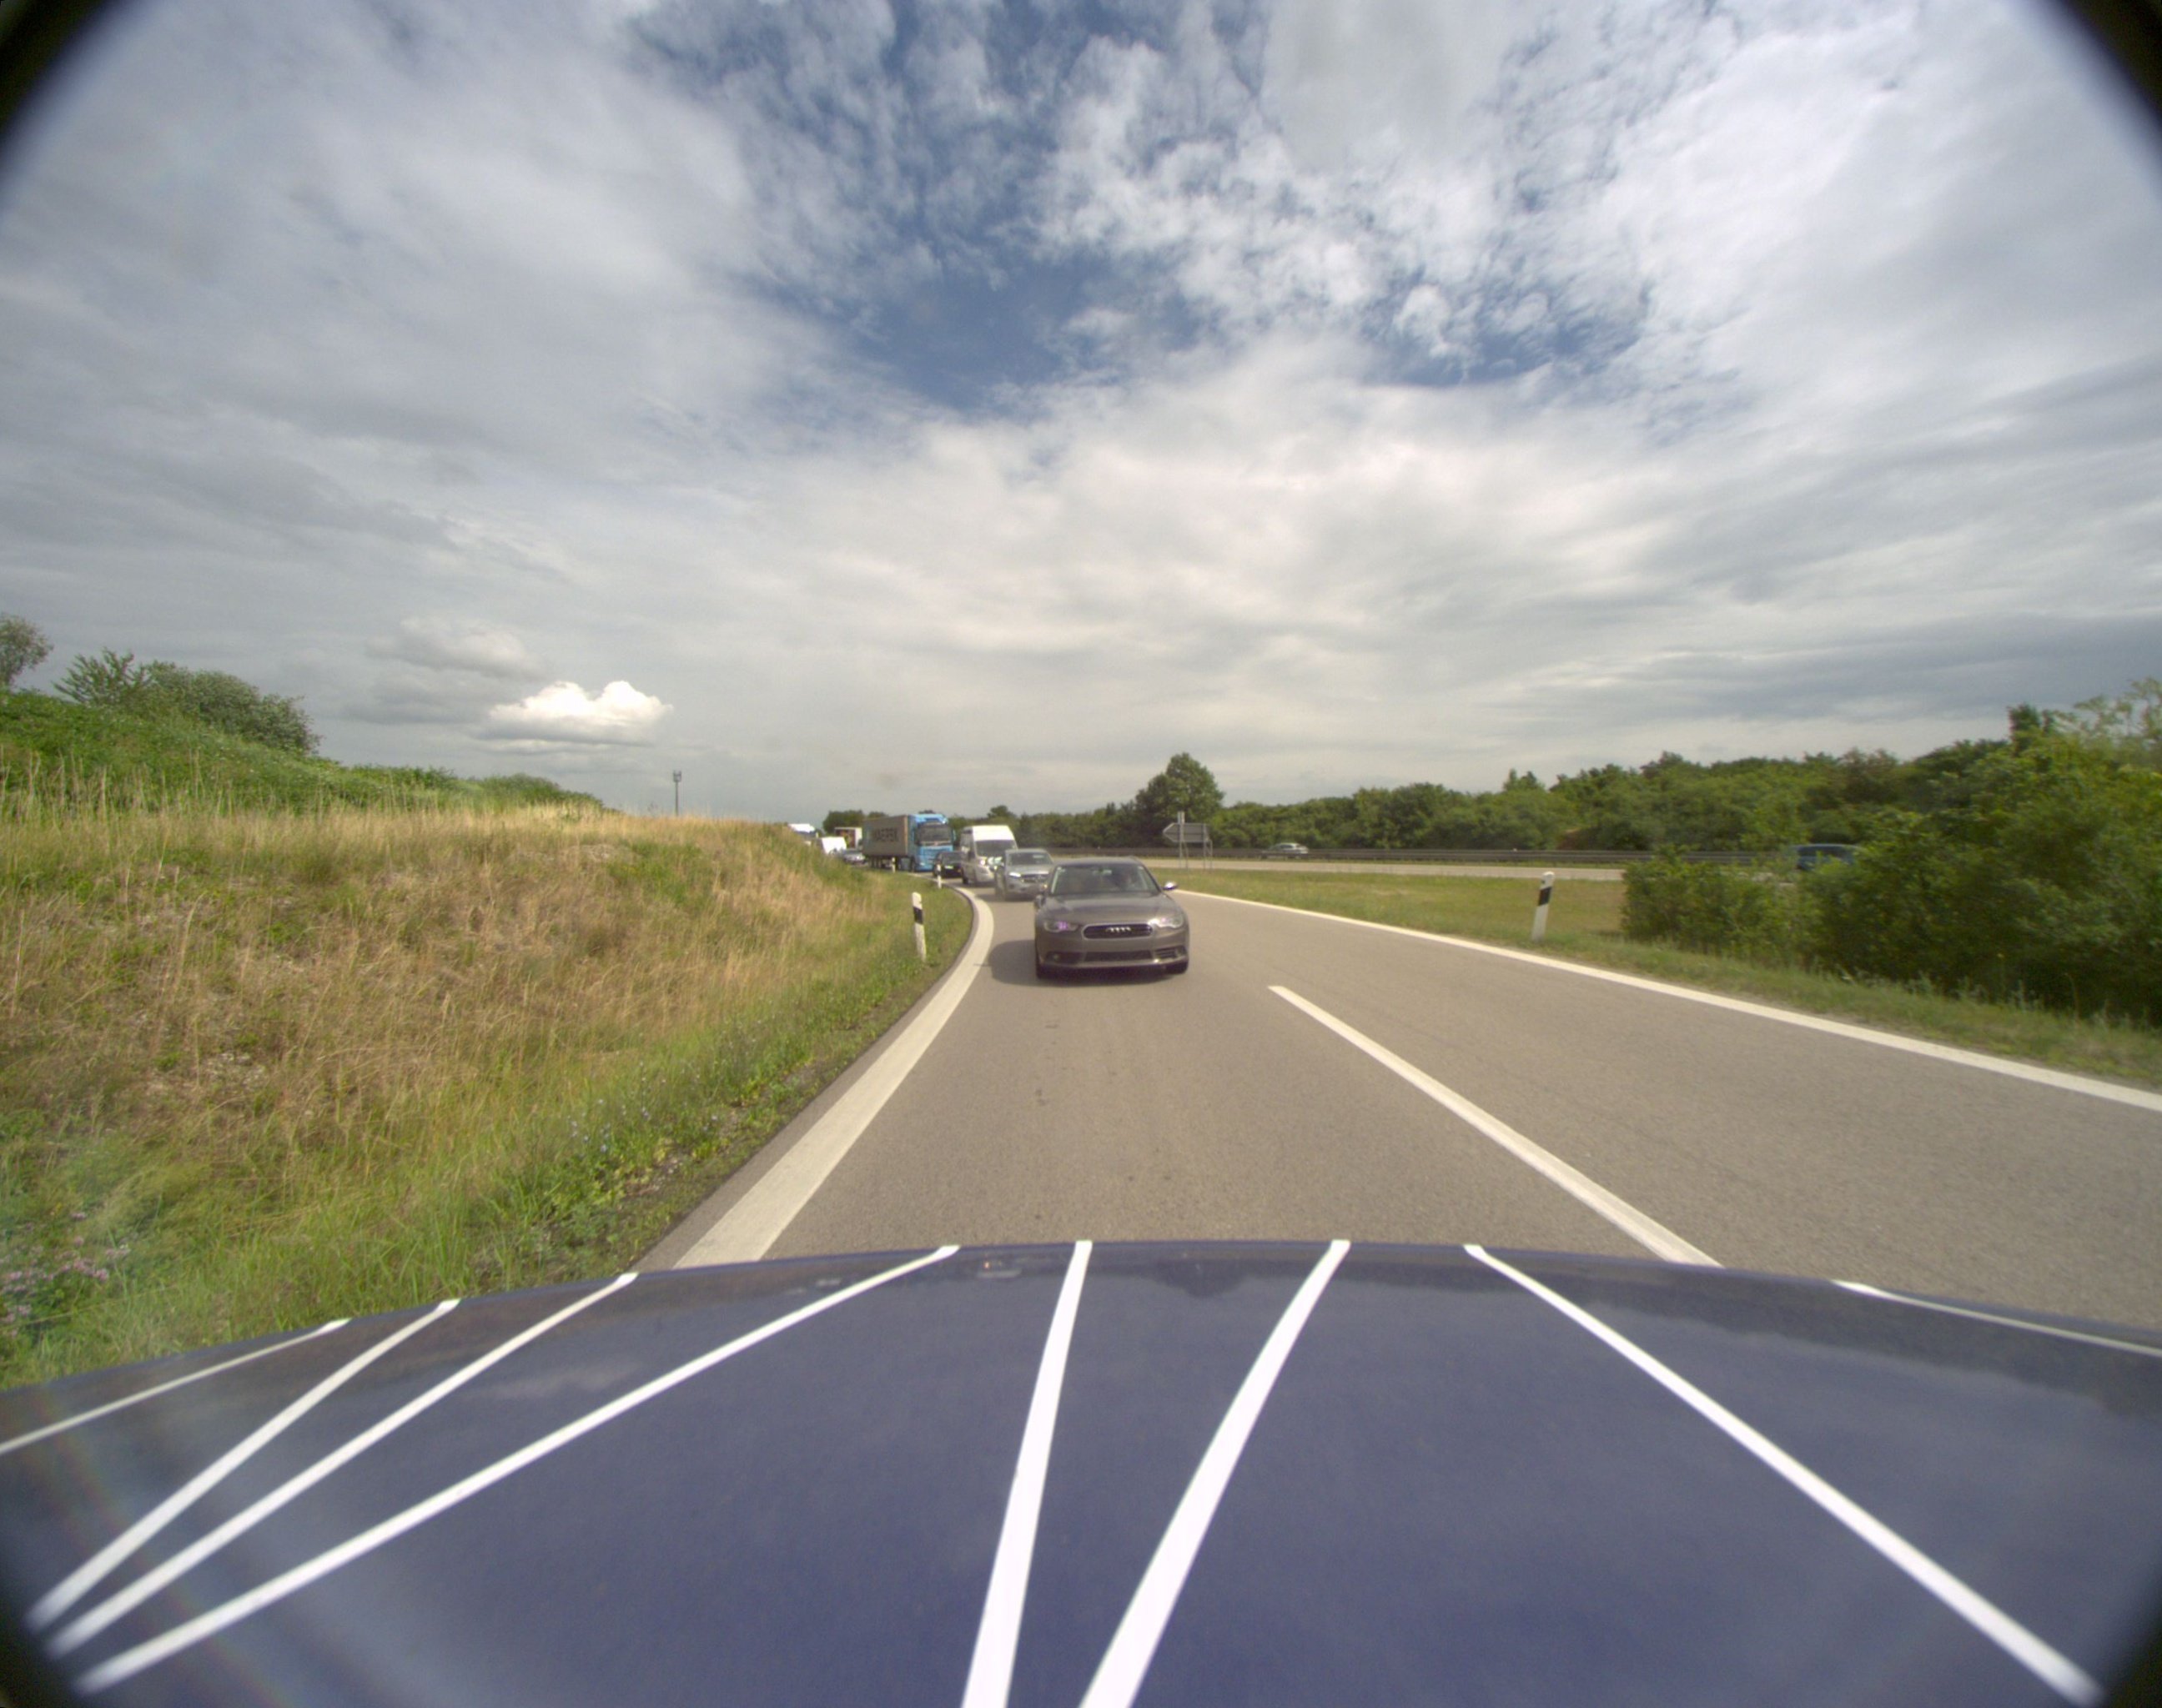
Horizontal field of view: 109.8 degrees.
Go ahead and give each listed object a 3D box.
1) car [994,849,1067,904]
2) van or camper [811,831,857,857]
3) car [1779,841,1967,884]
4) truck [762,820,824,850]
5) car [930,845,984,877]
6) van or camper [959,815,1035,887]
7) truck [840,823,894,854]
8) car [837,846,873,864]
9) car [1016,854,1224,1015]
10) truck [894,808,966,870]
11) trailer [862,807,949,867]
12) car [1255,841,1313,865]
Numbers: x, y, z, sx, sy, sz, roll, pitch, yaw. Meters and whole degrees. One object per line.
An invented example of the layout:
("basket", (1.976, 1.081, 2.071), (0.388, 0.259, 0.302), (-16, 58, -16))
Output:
("car", (-1.751, 0.667, 25.033), (1.844, 1.587, 4.169), (-1, 1, -11))
("van or camper", (-24.204, -0.984, 74.402), (2.558, 2.200, 5.692), (-4, 5, -37))
("car", (28.505, 0.245, 27.514), (2.004, 1.415, 4.573), (-1, 2, -42))
("truck", (-33.233, -2.148, 87.281), (3.131, 3.220, 11.129), (-2, 2, -39))
("car", (-7.027, 0.357, 42.812), (2.002, 1.609, 3.991), (-1, 2, -24))
("van or camper", (-3.907, -0.165, 34.252), (2.401, 2.892, 5.712), (-3, 1, -16))
("truck", (-26.212, -1.824, 92.557), (2.898, 3.567, 8.921), (-3, 2, -39))
("car", (-20.718, 0.089, 69.609), (2.003, 1.521, 3.989), (-3, 3, -35))
("car", (0.223, 0.810, 9.963), (1.999, 1.506, 4.535), (-2, 1, -6))
("truck", (-10.685, -1.015, 53.244), (3.184, 4.050, 6.632), (-3, 1, -27))
("trailer", (-13.922, -1.193, 59.213), (3.280, 4.138, 11.989), (-3, 1, -29))
("car", (16.494, -0.079, 61.782), (1.848, 1.862, 4.195), (-3, 2, -41))
